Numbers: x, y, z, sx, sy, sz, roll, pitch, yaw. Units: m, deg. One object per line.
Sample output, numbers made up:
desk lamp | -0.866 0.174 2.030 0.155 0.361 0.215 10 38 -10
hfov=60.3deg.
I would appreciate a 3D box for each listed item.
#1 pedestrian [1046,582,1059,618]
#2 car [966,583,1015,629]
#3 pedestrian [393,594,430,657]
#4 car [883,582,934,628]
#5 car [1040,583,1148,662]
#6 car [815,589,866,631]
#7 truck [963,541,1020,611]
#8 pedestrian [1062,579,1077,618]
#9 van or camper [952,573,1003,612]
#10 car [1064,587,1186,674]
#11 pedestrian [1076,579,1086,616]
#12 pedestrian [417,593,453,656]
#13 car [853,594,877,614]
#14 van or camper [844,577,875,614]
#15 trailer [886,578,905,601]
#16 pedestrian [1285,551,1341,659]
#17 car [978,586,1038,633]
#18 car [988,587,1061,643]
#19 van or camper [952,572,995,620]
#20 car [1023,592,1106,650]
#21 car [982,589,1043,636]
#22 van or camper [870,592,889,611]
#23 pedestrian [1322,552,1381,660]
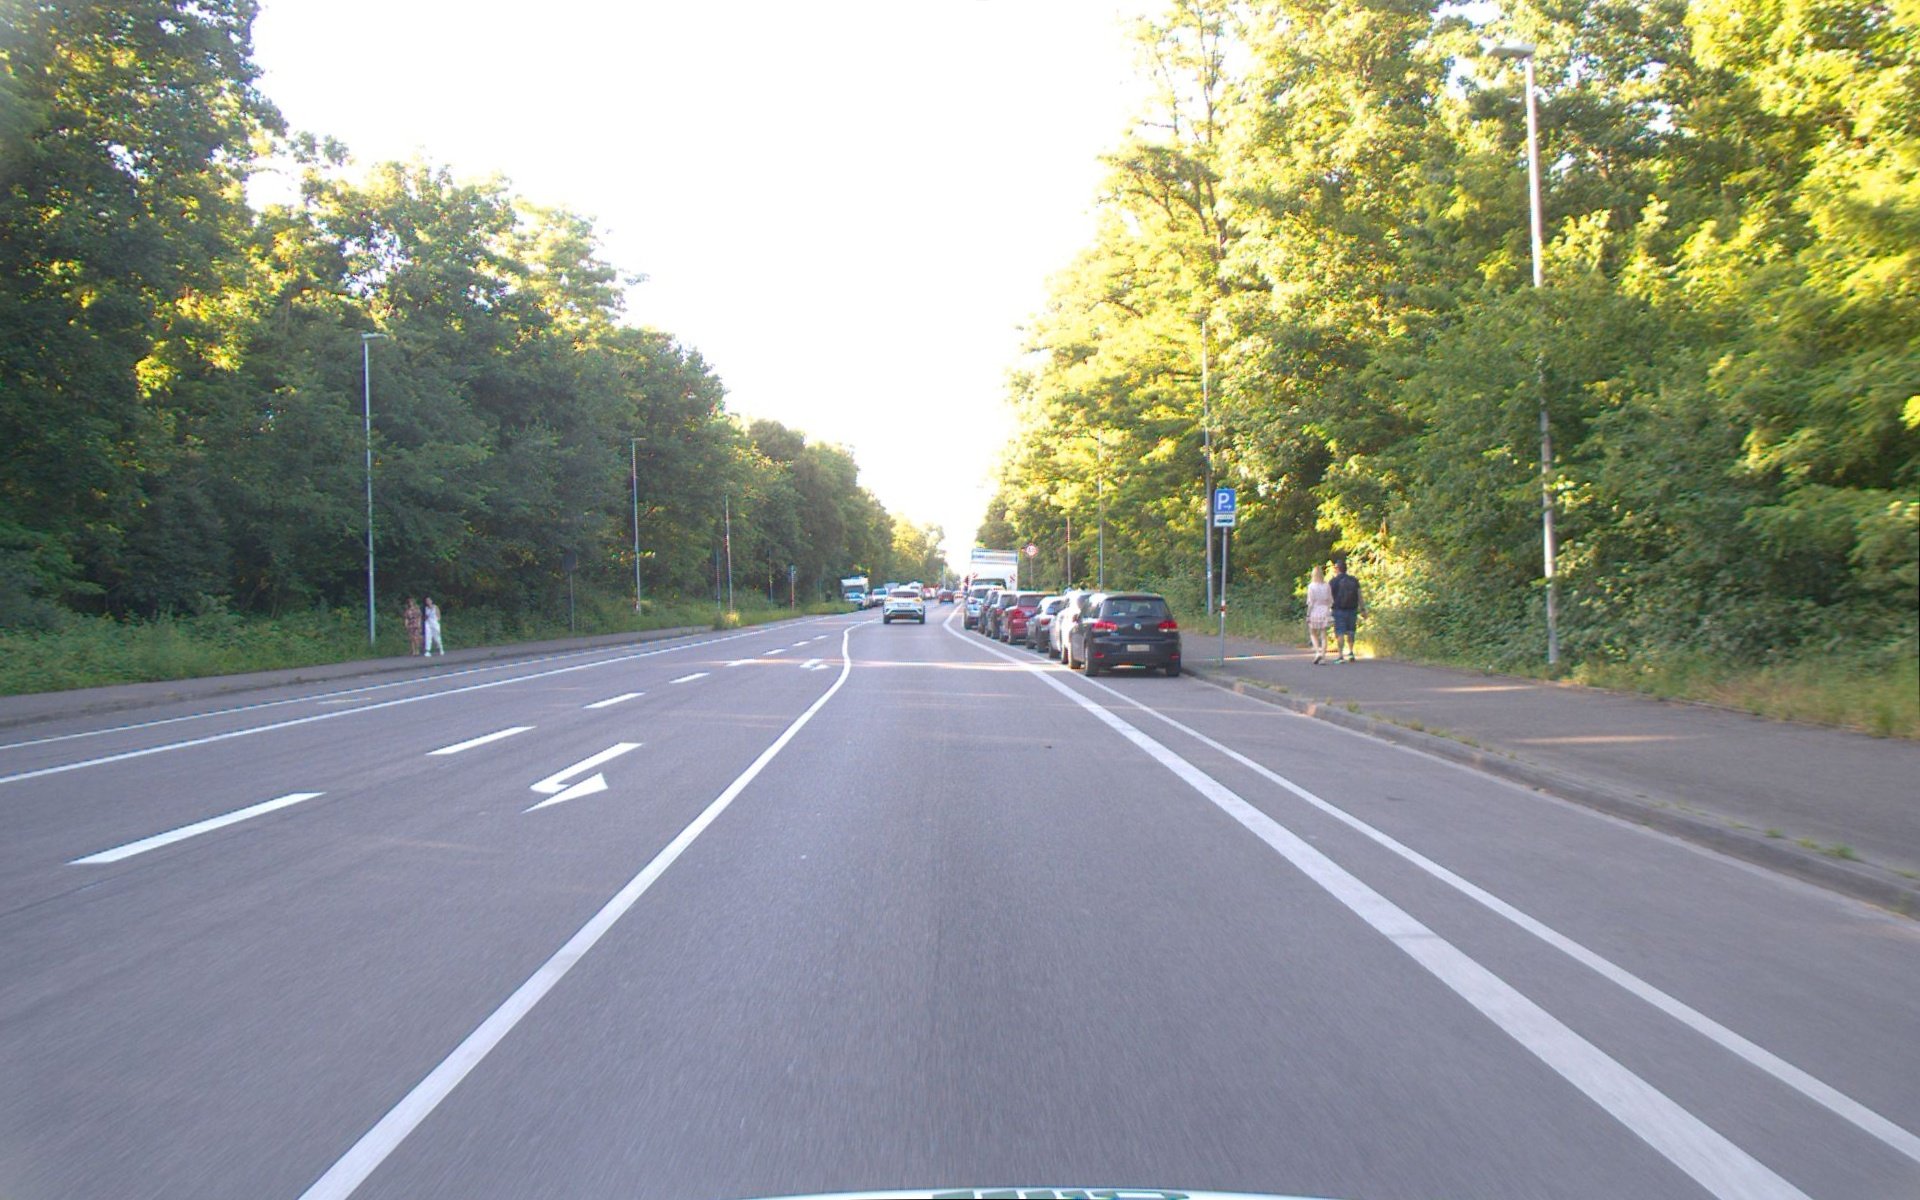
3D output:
pedestrian | 4.252 0.010 76.043 0.552 1.615 0.482 -2 0 0
car | 1.134 0.192 62.463 1.761 1.623 4.029 -2 0 1
pedestrian | -15.074 0.692 45.478 0.660 1.682 0.790 -1 0 4
car | -2.226 0.196 72.563 1.987 1.872 4.029 -2 0 1
car | 2.801 0.431 35.426 1.702 1.551 4.357 -2 1 -3
car | -4.647 0.354 64.796 1.771 1.545 4.502 1 0 -2
truck | 1.631 -1.294 90.351 2.775 3.558 8.577 -2 0 -1
pedestrian | 5.184 -0.081 78.230 0.605 1.795 0.906 -2 0 0
van or camper | 1.414 -0.595 127.617 2.389 2.848 6.562 -2 0 14
car | 3.008 0.522 30.833 1.624 1.477 4.017 1 0 -3
pedestrian | 5.389 -0.117 73.721 0.386 1.615 0.482 -2 0 0
pedestrian | -14.411 0.665 45.419 0.660 1.682 0.790 -1 0 4
car | -7.821 0.339 136.458 1.791 1.501 4.679 -3 0 -3
van or camper | -8.744 -0.399 144.364 2.268 3.021 7.108 -4 0 -2
trailer | -7.800 -1.292 200.681 1.953 2.642 4.416 -4 0 1
pedestrian | 6.199 0.083 29.106 0.662 1.830 0.789 -3 0 -5
car | 1.630 0.294 57.071 1.771 1.545 4.502 1 0 -2
car | 1.779 0.401 46.581 1.585 1.494 3.720 1 0 -5
van or camper | 0.625 -0.208 74.977 1.858 2.049 4.587 -2 0 1
car | 2.545 0.487 40.993 1.596 1.342 3.838 -1 0 -3
car | 1.626 0.366 52.111 1.563 1.425 3.796 0 0 -4
van or camper | -8.614 0.176 177.201 1.798 1.944 4.856 -3 0 0
pedestrian | 6.915 0.097 29.256 0.662 1.830 0.952 -3 0 -5
